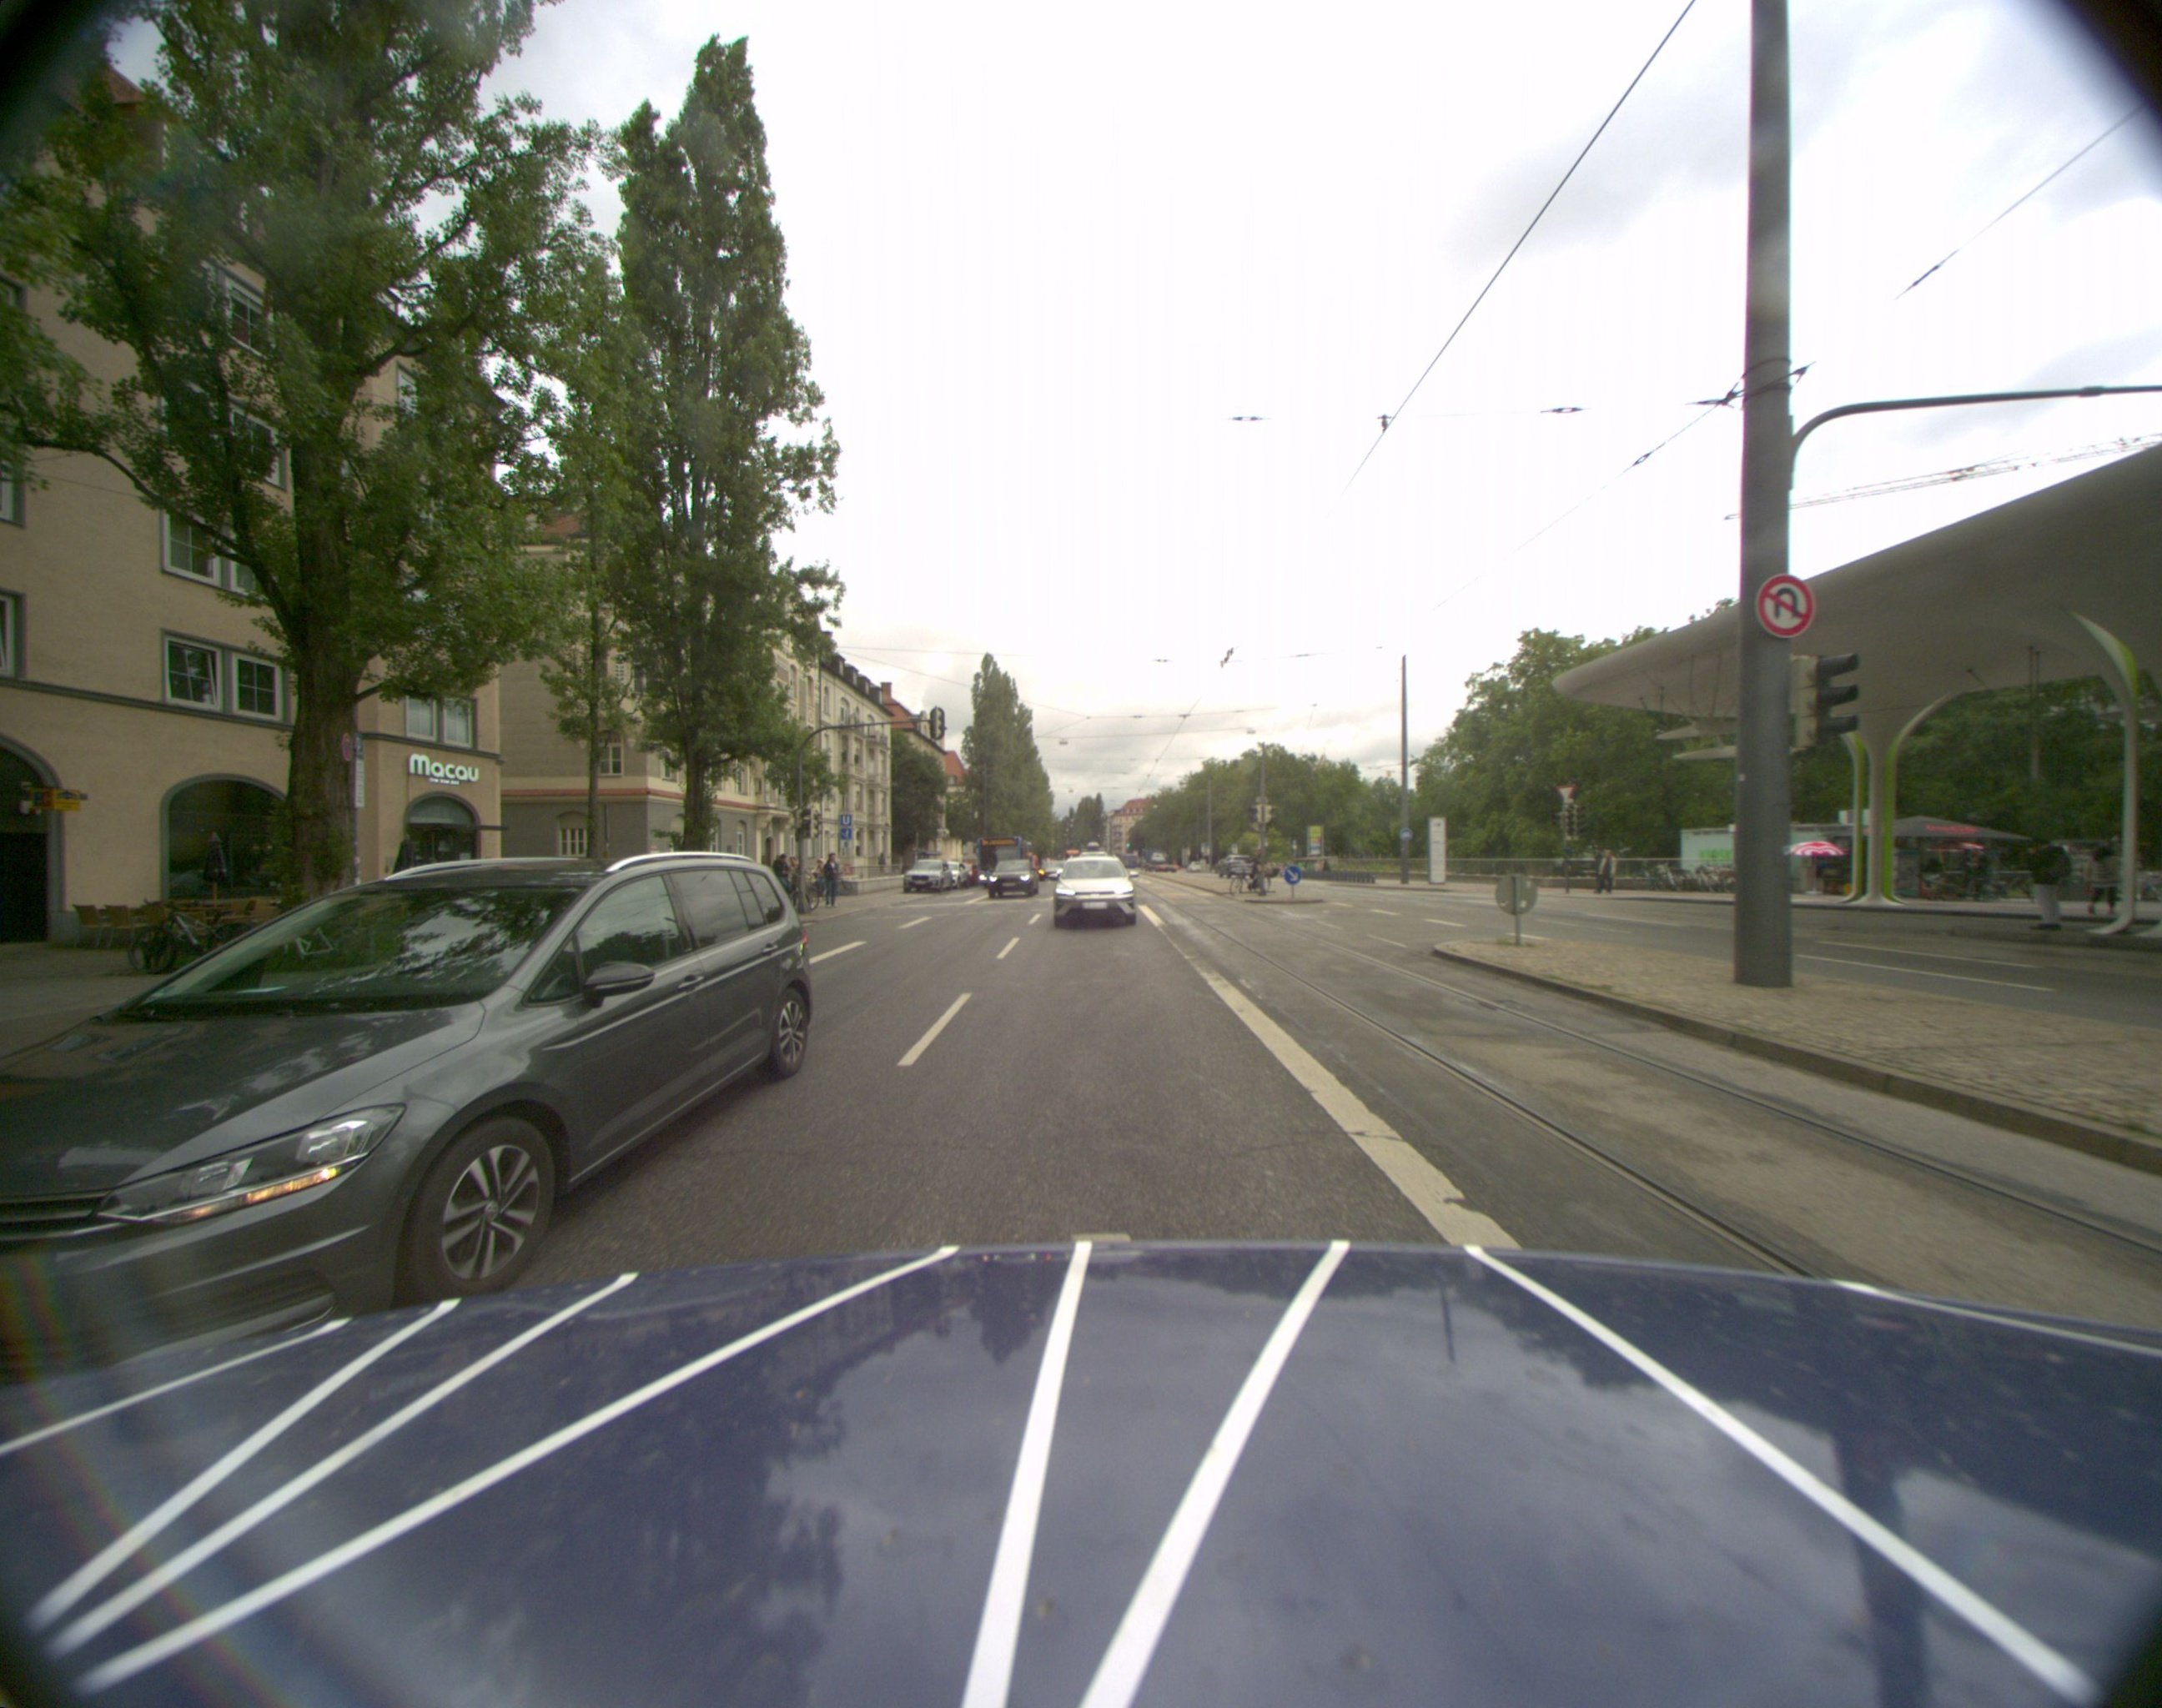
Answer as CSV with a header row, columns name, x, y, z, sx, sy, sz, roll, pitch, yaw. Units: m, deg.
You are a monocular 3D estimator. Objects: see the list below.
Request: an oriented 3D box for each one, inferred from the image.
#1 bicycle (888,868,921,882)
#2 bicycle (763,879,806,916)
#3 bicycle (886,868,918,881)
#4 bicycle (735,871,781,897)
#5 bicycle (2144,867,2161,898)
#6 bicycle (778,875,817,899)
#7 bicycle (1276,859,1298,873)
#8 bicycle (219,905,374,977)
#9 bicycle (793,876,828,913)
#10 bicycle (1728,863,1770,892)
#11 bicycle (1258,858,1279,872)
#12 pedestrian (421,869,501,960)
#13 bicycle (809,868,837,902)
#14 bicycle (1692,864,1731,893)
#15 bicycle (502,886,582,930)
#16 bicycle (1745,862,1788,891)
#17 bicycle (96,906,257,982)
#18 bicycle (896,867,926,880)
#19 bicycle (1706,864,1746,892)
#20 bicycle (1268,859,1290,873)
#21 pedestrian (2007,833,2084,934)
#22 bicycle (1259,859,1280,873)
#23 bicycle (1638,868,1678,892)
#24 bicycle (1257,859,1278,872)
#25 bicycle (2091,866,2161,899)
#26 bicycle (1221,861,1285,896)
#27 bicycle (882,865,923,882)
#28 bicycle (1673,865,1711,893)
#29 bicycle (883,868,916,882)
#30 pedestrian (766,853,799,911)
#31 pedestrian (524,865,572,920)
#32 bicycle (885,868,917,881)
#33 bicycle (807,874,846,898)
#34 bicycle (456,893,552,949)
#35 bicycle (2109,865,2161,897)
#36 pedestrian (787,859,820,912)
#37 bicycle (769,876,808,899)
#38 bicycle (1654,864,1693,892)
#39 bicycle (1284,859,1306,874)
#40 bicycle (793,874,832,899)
name,x,y,z,sx,sy,sz,roll,pitch,yaw
bicycle,-13.116,1.571,56.482,2.326,0.916,0.586,-2,1,-16
bicycle,-9.190,1.334,23.521,1.740,1.096,0.360,0,1,36
bicycle,-14.088,1.613,59.860,2.323,0.916,0.640,-2,1,-2
bicycle,-15.061,1.390,35.419,1.890,1.147,0.464,-2,1,-41
bicycle,39.714,1.039,26.911,0.644,1.123,2.524,0,0,1
bicycle,-12.976,1.505,34.835,0.391,1.017,1.842,-1,1,28
bicycle,16.761,0.958,61.797,1.693,1.165,0.561,-1,0,-9
bicycle,-12.264,1.354,11.903,1.892,1.048,0.458,-1,1,-2
bicycle,-8.646,1.274,24.265,0.360,1.096,1.740,-1,1,-43
bicycle,26.694,0.917,30.413,0.479,1.090,1.851,0,0,15
bicycle,16.537,0.978,67.165,1.692,1.165,0.562,-1,0,-2
pedestrian,-10.963,1.049,13.456,0.761,1.553,0.763,-1,0,3
bicycle,-10.452,1.249,30.844,0.424,1.280,1.779,-1,0,2
bicycle,25.456,0.973,30.720,0.479,1.090,1.851,0,0,15
bicycle,-14.100,1.407,19.887,1.801,1.103,0.447,-1,0,3
bicycle,27.245,0.892,30.217,0.479,1.090,1.851,0,0,15
bicycle,-14.137,1.396,11.893,1.892,1.107,0.458,-1,1,-2
bicycle,-14.157,1.615,63.226,2.323,0.916,0.640,-2,1,-2
bicycle,25.974,0.950,30.622,0.479,1.090,1.851,0,0,15
bicycle,16.421,0.973,62.967,1.693,1.165,0.561,-1,0,-9
pedestrian,18.004,0.525,14.191,0.667,1.828,0.808,-1,1,-30
bicycle,16.058,0.989,64.726,1.693,1.165,0.561,-1,0,-9
bicycle,23.592,1.043,31.080,0.479,0.889,1.850,0,0,9
bicycle,16.033,0.990,65.311,1.693,1.165,0.505,-1,0,-7
bicycle,37.945,1.001,27.055,0.644,1.123,2.524,-1,0,1
bicycle,6.092,0.857,26.834,2.233,1.143,0.505,-2,1,-18
bicycle,-13.422,1.472,57.099,2.922,1.141,0.639,-2,1,-17
bicycle,24.764,1.005,30.838,0.479,1.090,1.851,0,0,15
bicycle,-13.774,1.600,57.691,2.326,0.916,0.586,-2,1,-16
pedestrian,-9.268,0.865,23.615,0.699,1.770,0.652,-1,0,35
pedestrian,-15.929,1.146,22.722,0.847,1.593,0.824,0,1,22
bicycle,-14.034,1.611,59.151,2.323,0.916,0.640,-2,1,-2
bicycle,-11.629,1.449,34.763,0.445,1.017,1.842,-1,1,28
bicycle,-11.386,1.295,15.059,0.590,0.959,1.653,-1,0,1
bicycle,38.623,0.970,27.063,0.644,1.123,2.524,-1,0,1
pedestrian,-8.854,0.991,24.265,0.758,1.628,0.699,-1,0,-42
bicycle,-13.425,1.533,34.888,0.391,0.972,1.842,-1,1,28
bicycle,24.133,0.948,30.960,0.479,1.090,1.851,0,0,12
bicycle,16.704,0.962,59.260,1.696,1.165,0.560,-1,0,-28
bicycle,-12.261,1.478,34.773,0.445,1.017,1.842,-1,1,28
